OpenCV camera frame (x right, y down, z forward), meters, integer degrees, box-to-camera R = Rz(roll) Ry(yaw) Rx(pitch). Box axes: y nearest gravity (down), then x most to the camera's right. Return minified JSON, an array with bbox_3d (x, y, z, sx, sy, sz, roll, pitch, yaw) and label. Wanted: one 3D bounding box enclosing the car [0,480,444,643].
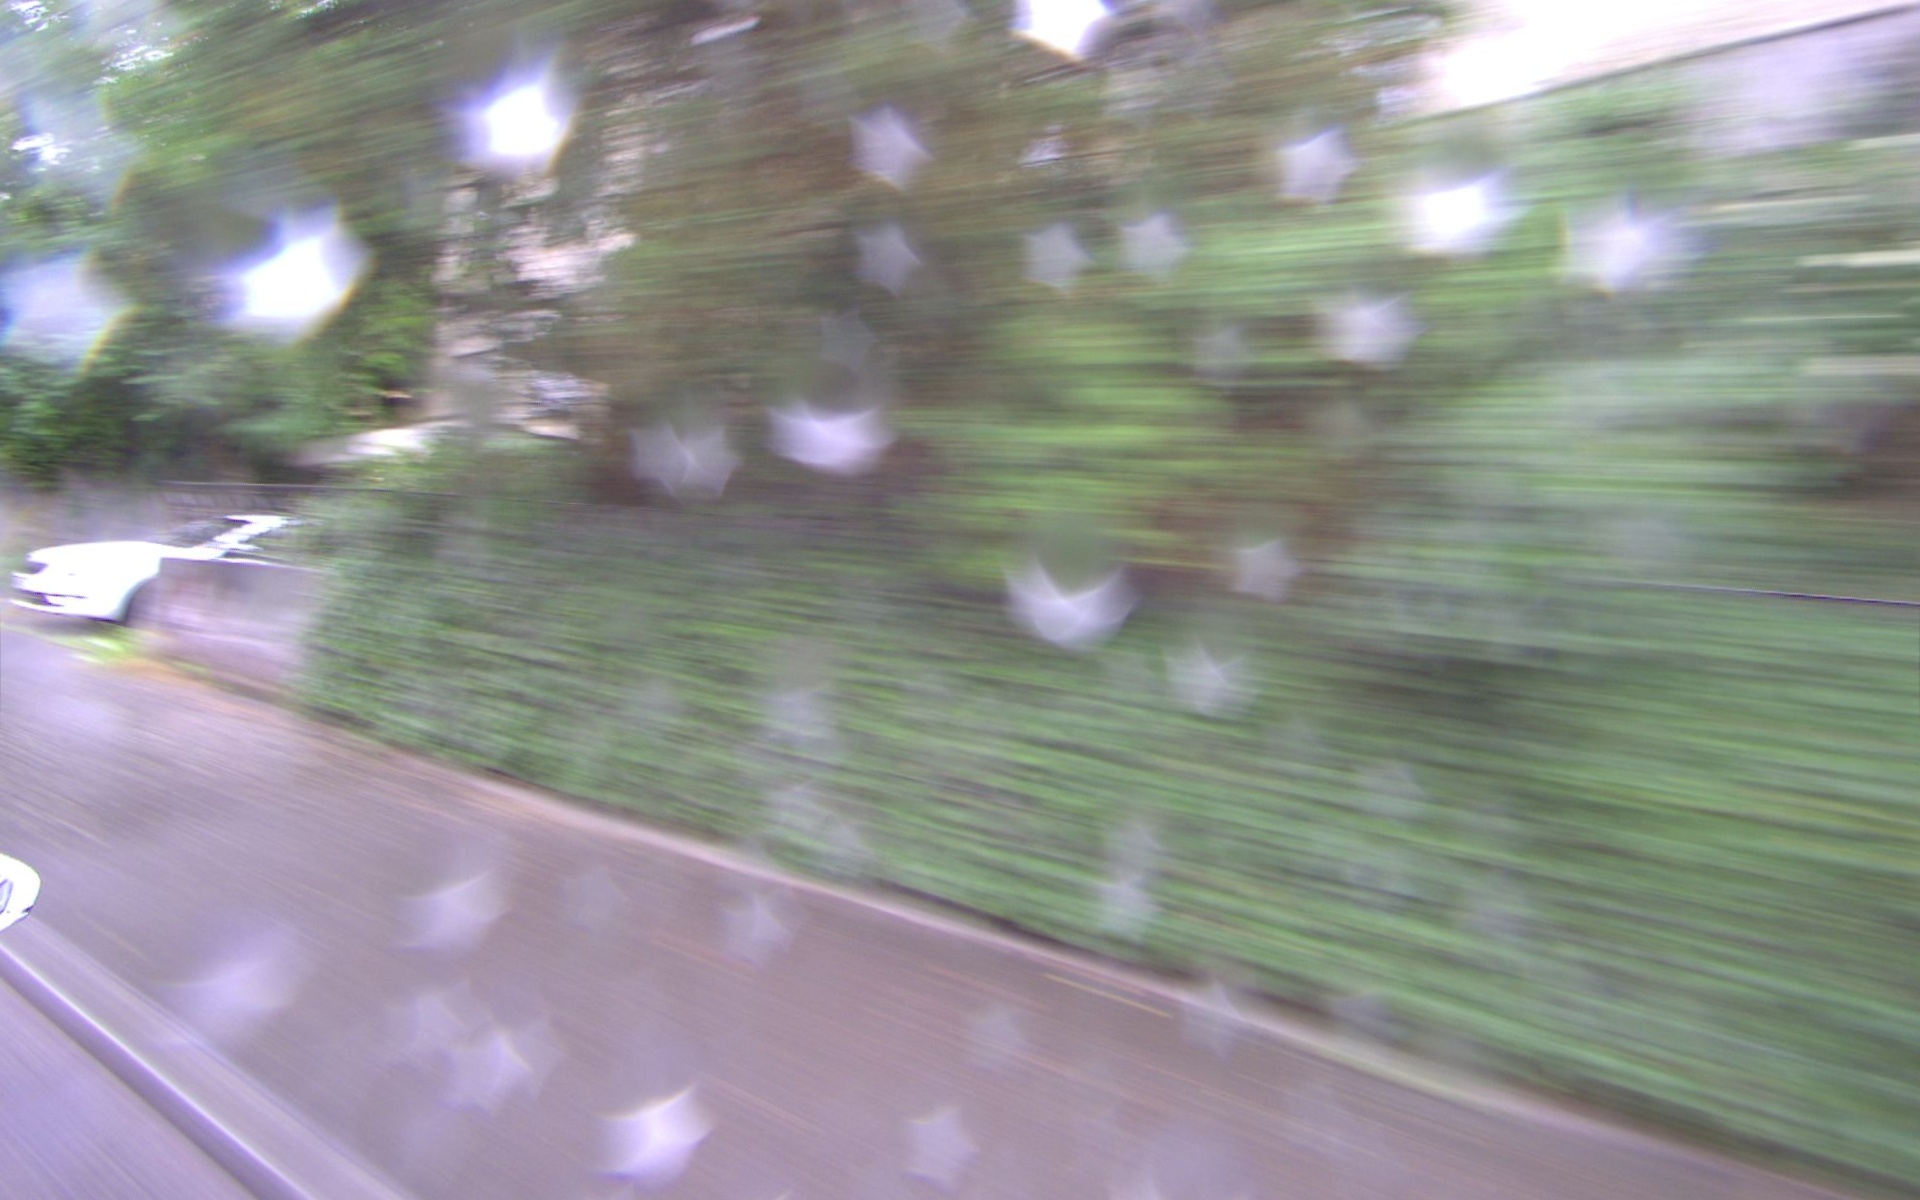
[{"bbox_3d":[-8.891,-0.374,12.295,1.873,1.495,4.146,7,1,32],"label":"car"}]
